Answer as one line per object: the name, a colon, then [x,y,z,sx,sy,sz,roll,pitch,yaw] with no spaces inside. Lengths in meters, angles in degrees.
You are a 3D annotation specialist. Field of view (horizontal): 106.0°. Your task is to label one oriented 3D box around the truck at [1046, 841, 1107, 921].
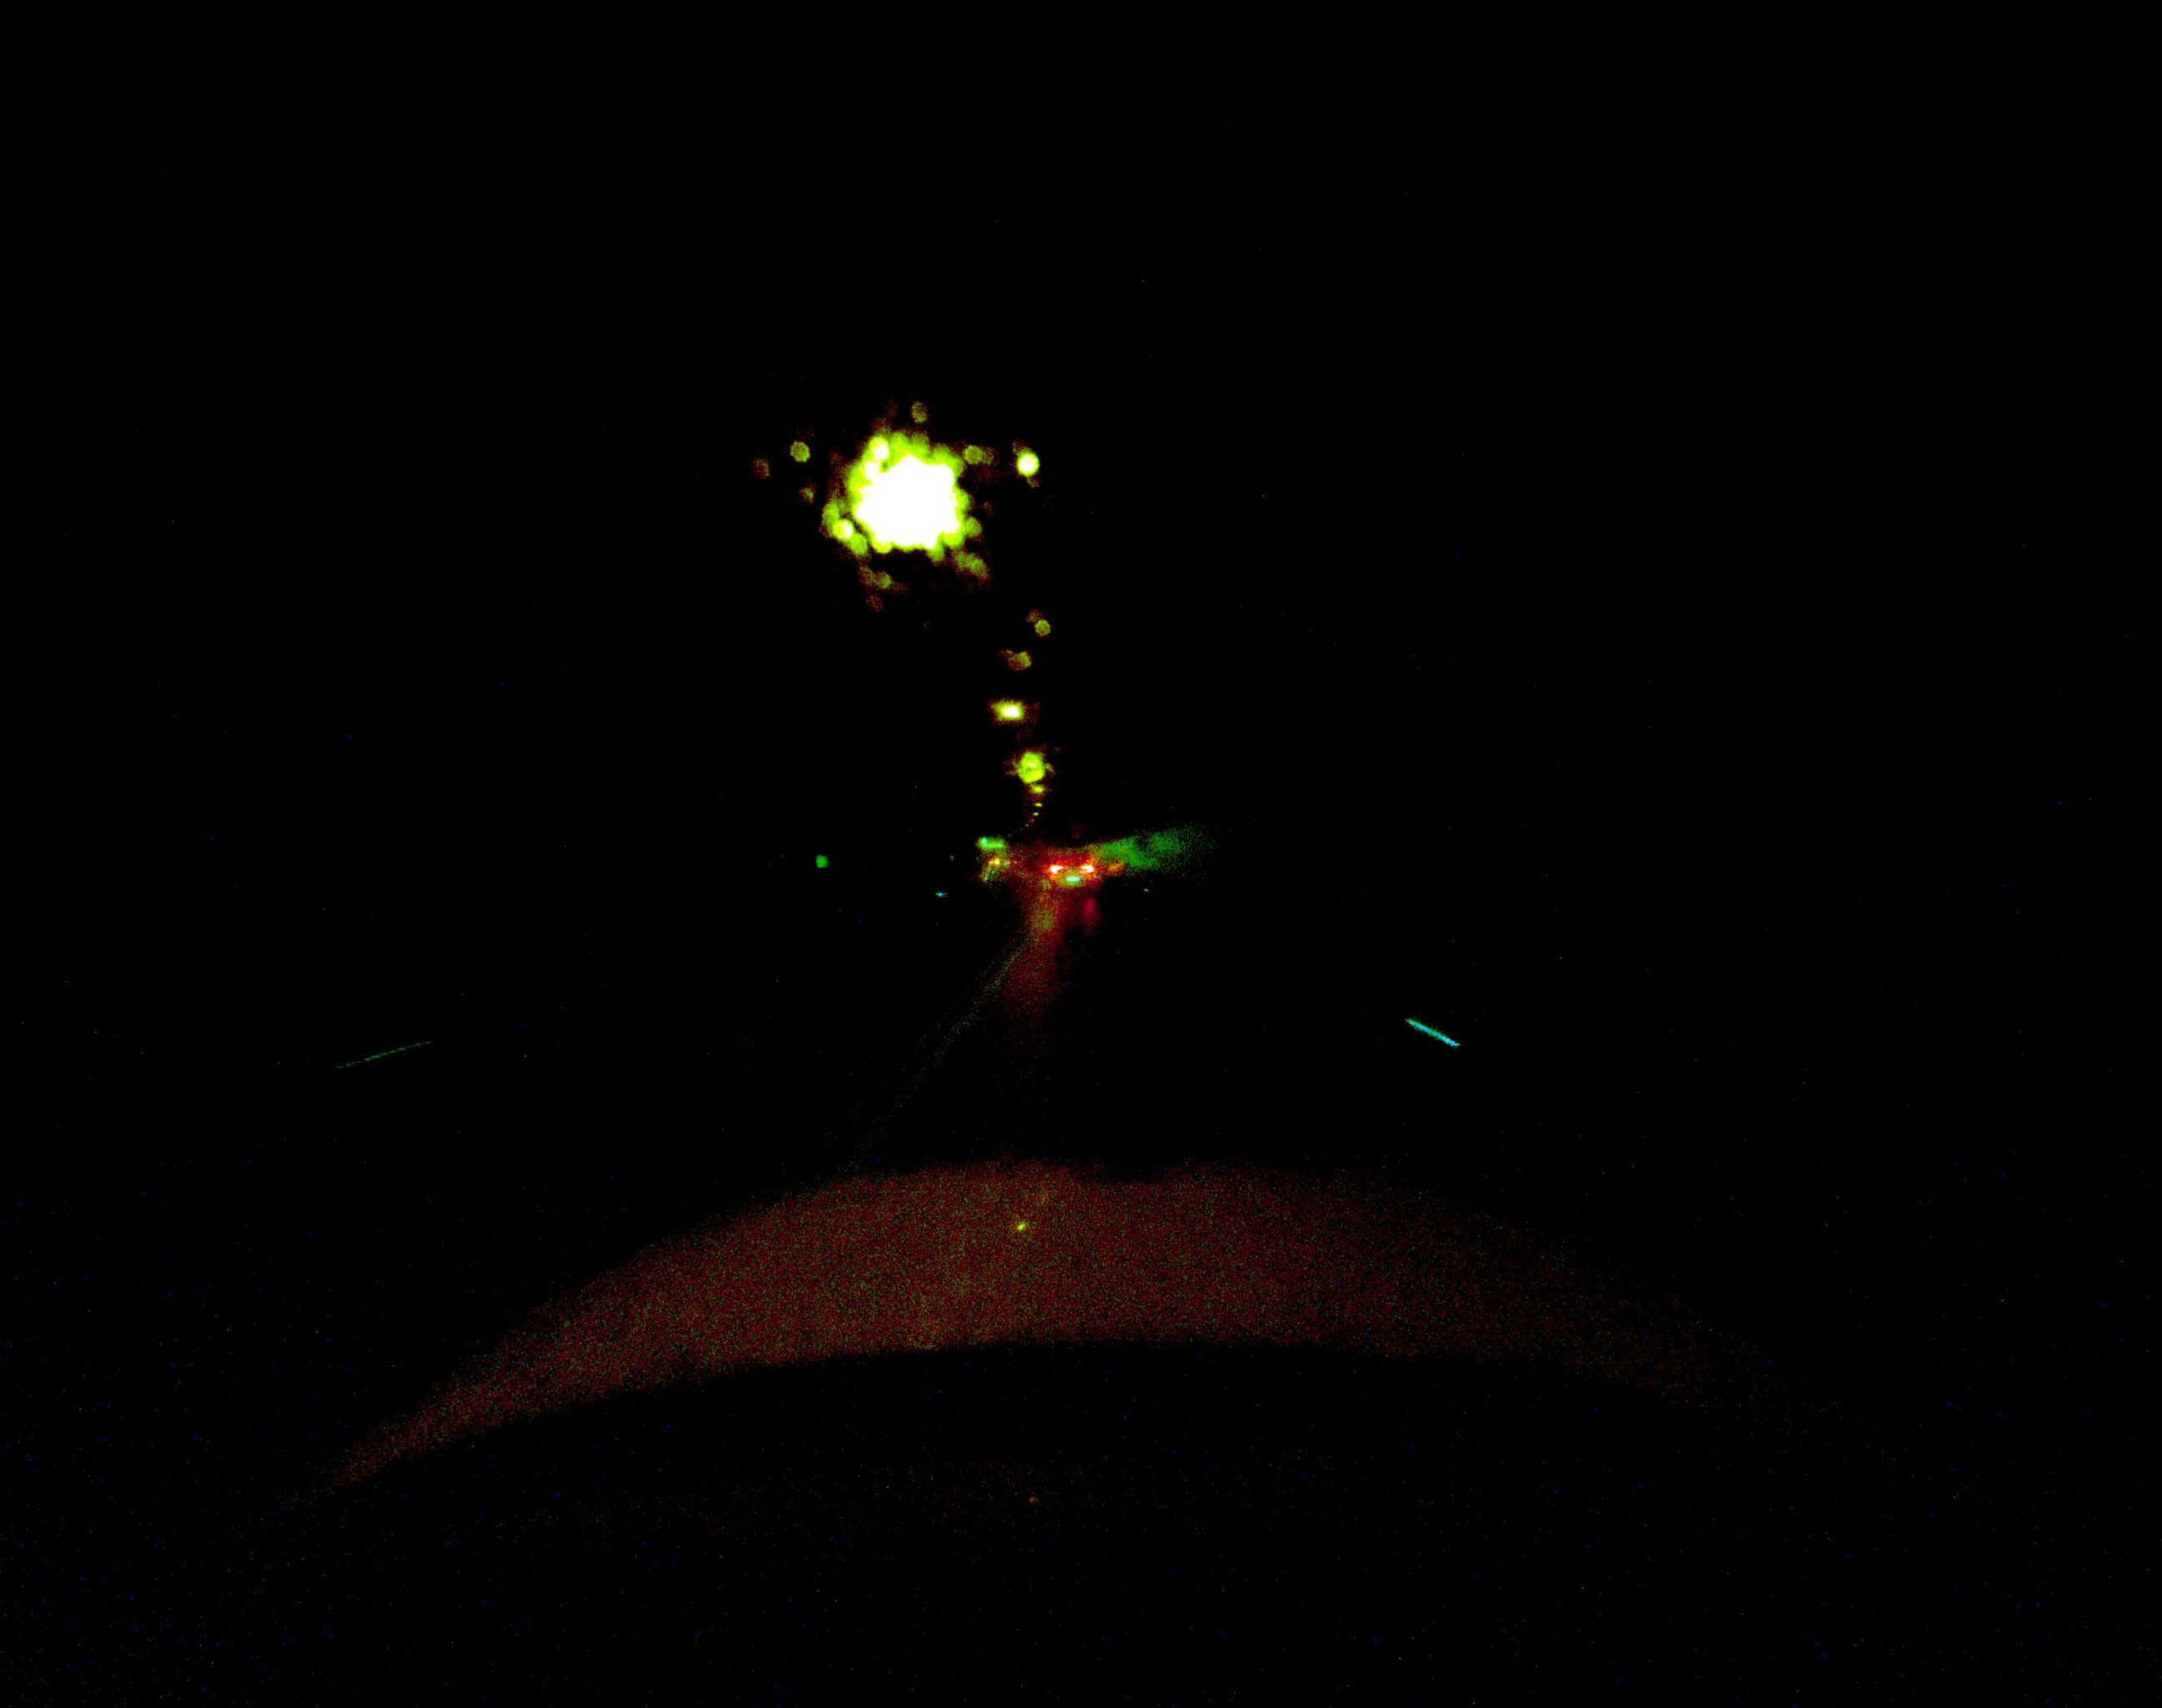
truck: [-0.183,1.036,34.673,2.255,3.011,7.413,1,0,0]
